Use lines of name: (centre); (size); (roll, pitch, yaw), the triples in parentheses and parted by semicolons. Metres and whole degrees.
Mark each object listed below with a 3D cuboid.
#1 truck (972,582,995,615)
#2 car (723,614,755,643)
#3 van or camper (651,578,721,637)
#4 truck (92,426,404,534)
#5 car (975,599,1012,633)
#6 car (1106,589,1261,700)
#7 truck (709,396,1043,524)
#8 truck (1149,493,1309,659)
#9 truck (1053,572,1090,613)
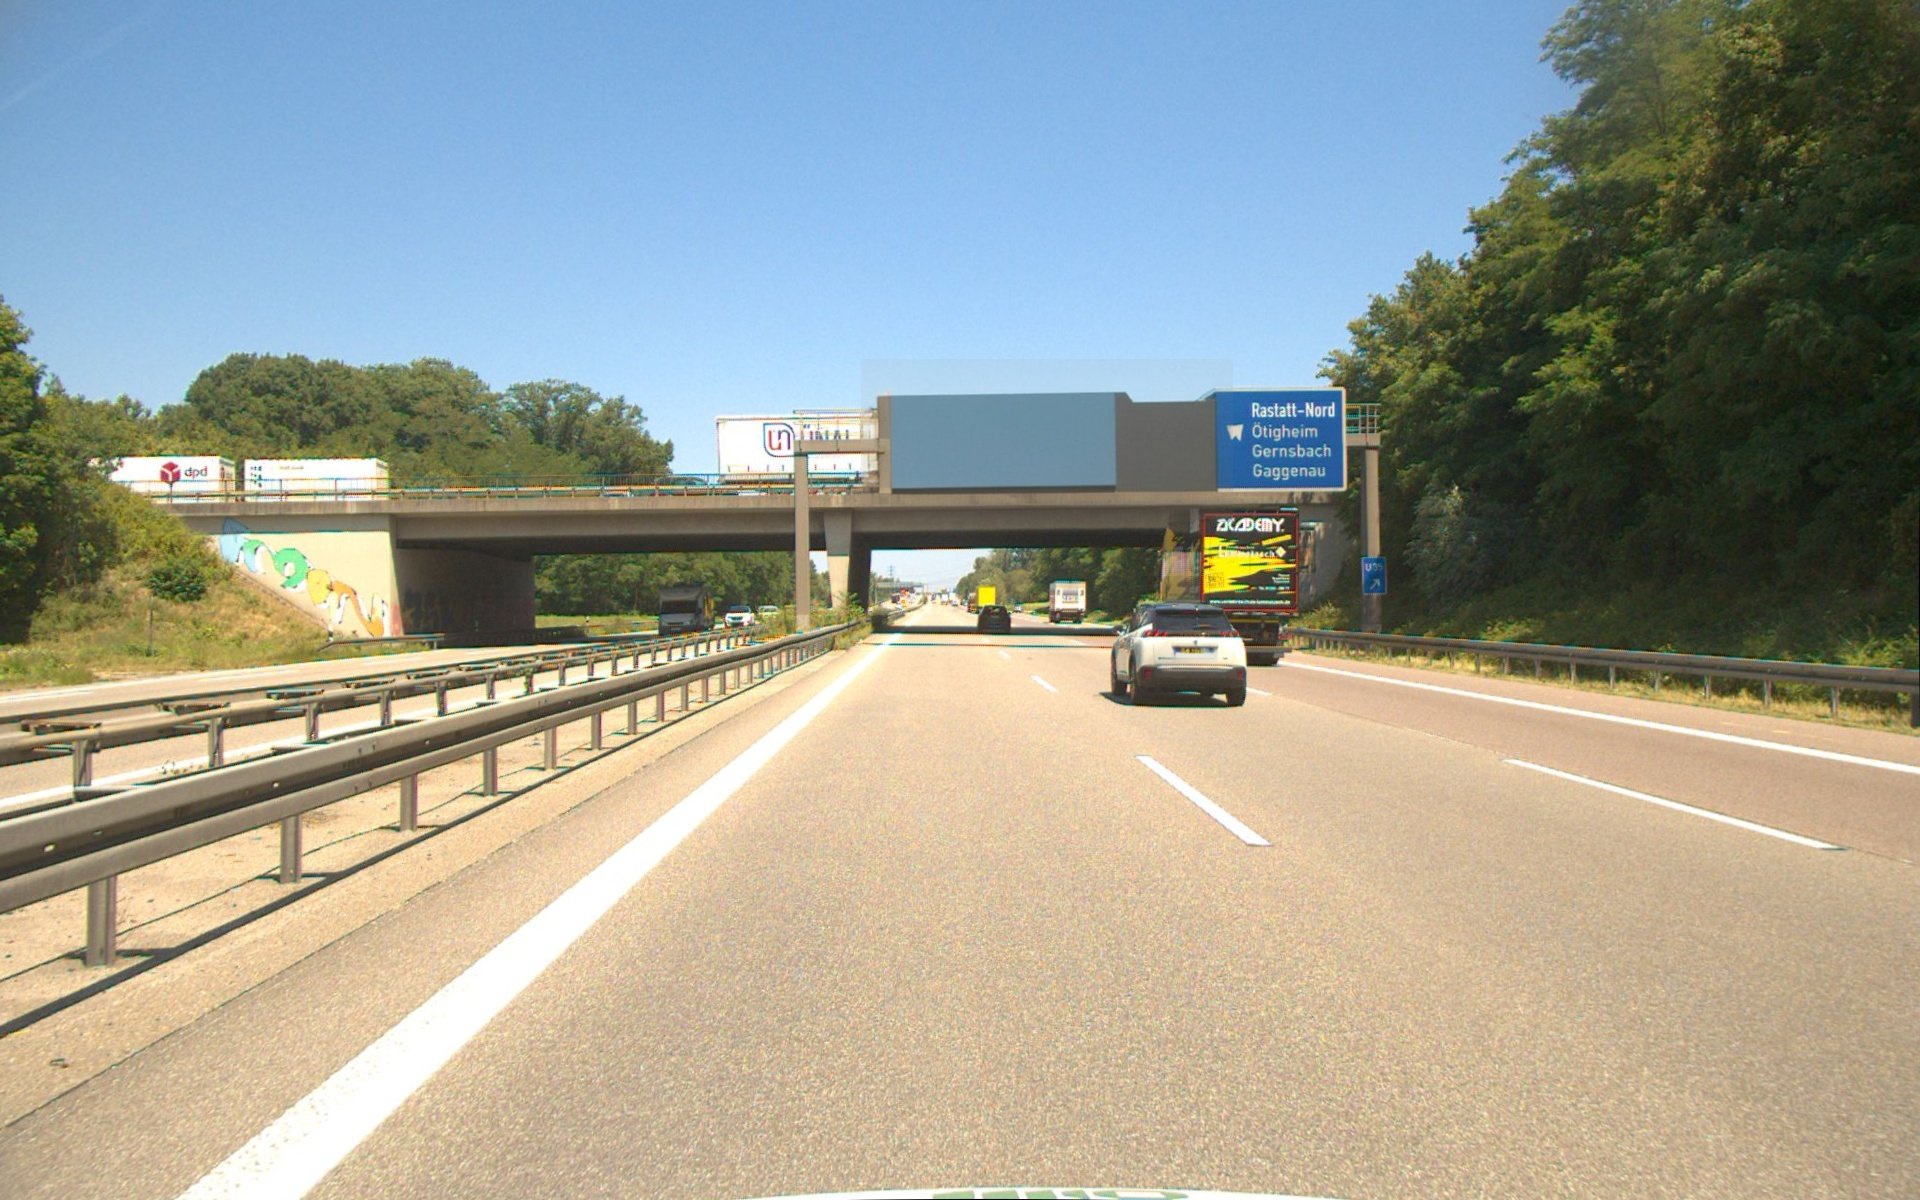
truck: (3.687, -0.138, 259.548); (3.308, 4.966, 15.084); (1, 0, 0)
car: (-14.721, 1.869, 110.491); (1.656, 1.847, 4.712); (1, 0, -2)
van or camper: (-14.342, 0.386, 86.996); (2.540, 2.957, 7.232); (1, 0, -1)
truck: (-40.886, -6.849, 95.621); (16.153, 5.663, 3.169); (1, -1, -8)
car: (1.759, 0.854, 88.619); (1.790, 1.736, 3.999); (1, 0, -1)
car: (3.521, 0.672, 26.883); (1.790, 1.636, 4.807); (0, 0, -1)
truck: (-4.115, -6.833, 81.860); (16.143, 5.663, 3.171); (1, -1, -6)
truck: (7.414, -0.574, 47.186); (2.913, 4.107, 10.982); (2, 0, 1)
truck: (9.451, -0.585, 141.068); (2.965, 3.377, 10.775); (1, 0, 3)
